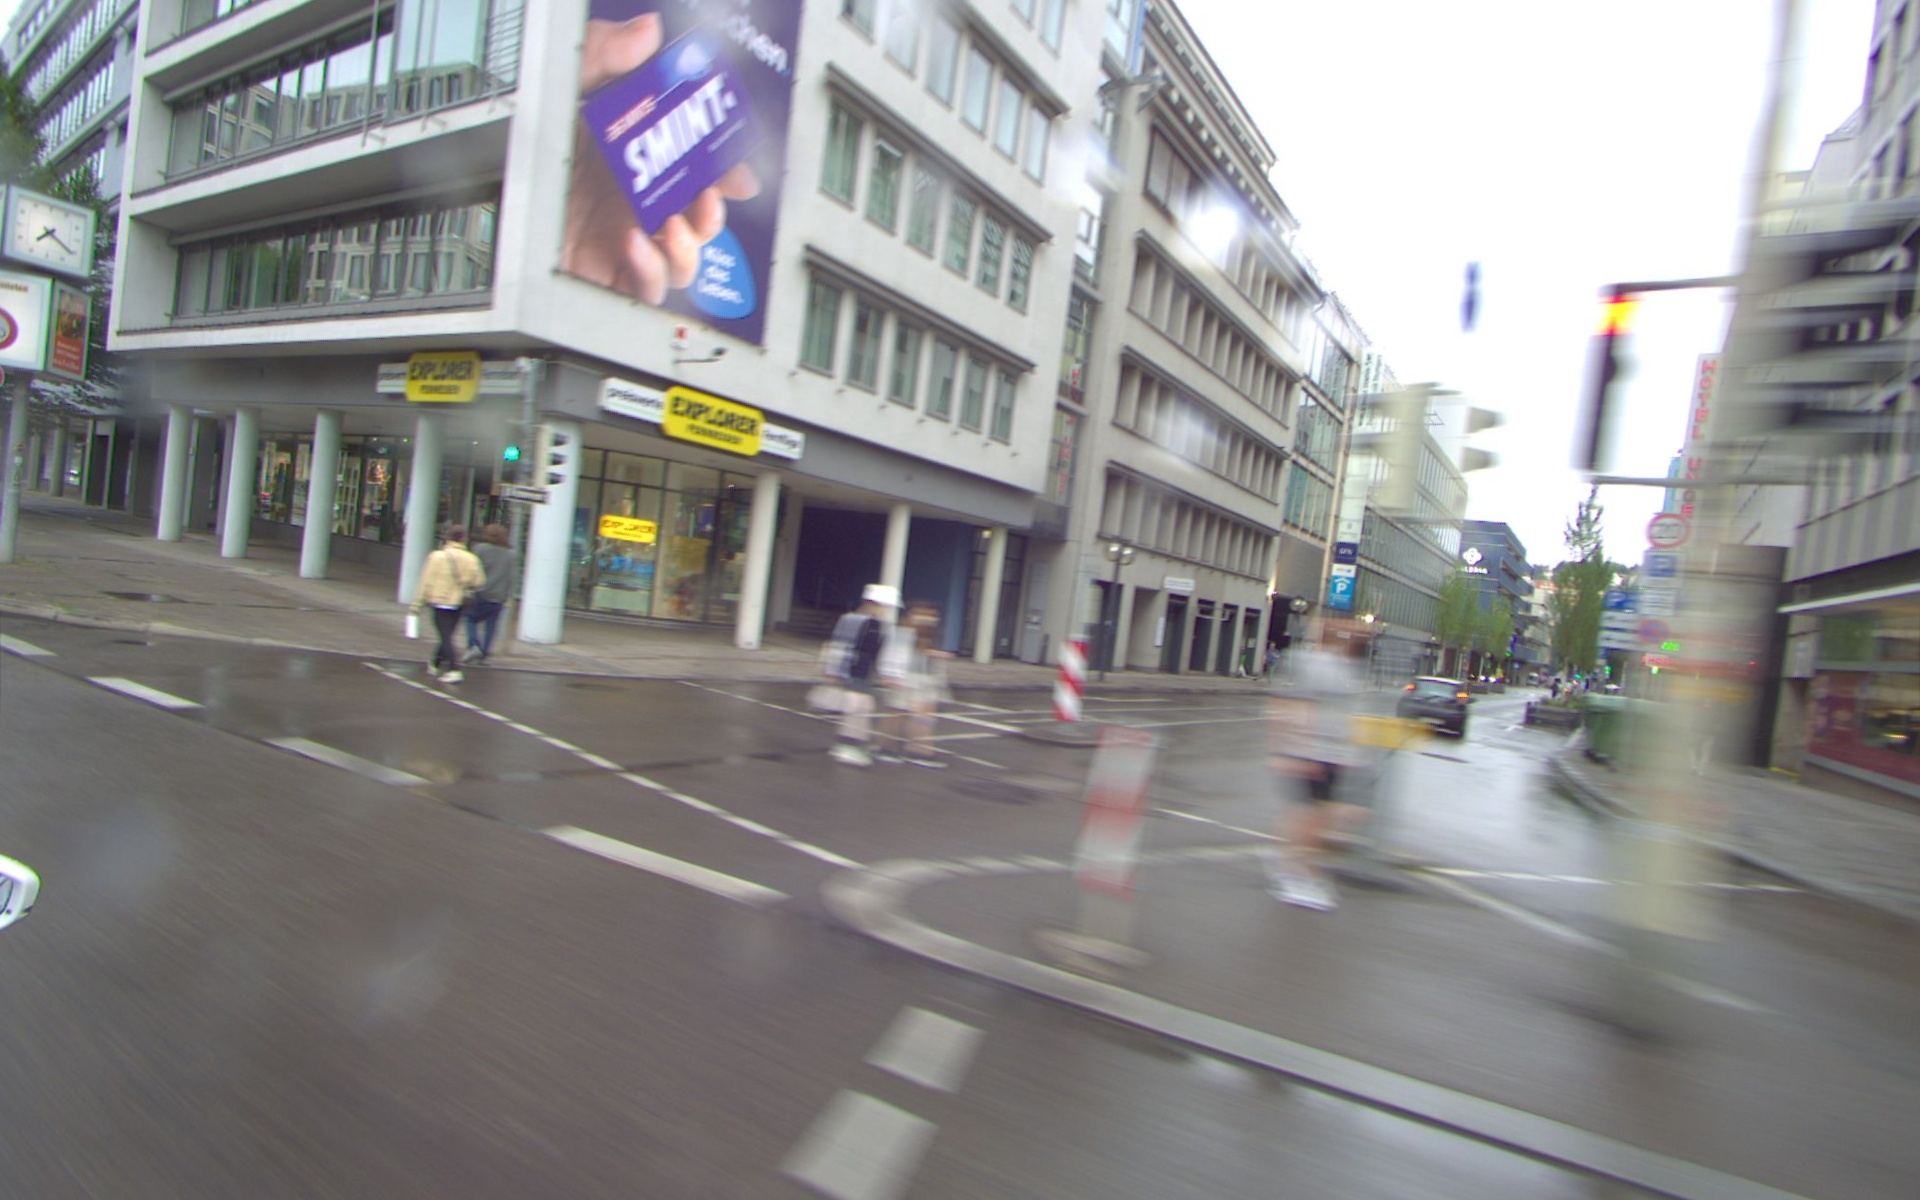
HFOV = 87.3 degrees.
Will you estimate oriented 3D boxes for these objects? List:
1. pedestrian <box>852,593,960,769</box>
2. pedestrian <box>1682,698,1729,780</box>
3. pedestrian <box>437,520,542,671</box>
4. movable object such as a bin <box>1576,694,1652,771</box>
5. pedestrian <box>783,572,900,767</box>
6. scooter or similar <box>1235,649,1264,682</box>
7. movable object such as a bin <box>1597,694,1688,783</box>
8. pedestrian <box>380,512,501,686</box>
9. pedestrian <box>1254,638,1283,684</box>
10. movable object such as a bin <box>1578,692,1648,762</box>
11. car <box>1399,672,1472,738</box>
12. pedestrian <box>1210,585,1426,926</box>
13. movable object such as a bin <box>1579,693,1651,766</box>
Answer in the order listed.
[{"bbox_3d":[-0.521,0.763,9.555,0.620,1.562,0.647,7,0,-33],"label":"pedestrian"},{"bbox_3d":[17.203,3.193,23.233,0.586,1.753,0.771,7,1,27],"label":"pedestrian"},{"bbox_3d":[-6.061,-0.051,12.954,0.803,1.820,0.749,8,2,34],"label":"pedestrian"},{"bbox_3d":[14.002,2.800,21.525,1.180,1.400,1.100,8,1,35],"label":"movable object such as a bin"},{"bbox_3d":[-1.082,0.627,9.172,0.664,1.676,0.647,7,0,-33],"label":"pedestrian"},{"bbox_3d":[12.917,2.924,44.921,1.177,1.304,0.242,7,0,-16],"label":"scooter or similar"},{"bbox_3d":[13.150,2.635,19.406,1.261,1.448,0.966,8,1,35],"label":"movable object such as a bin"},{"bbox_3d":[-5.789,-0.002,11.215,0.803,1.820,0.749,8,2,34],"label":"pedestrian"},{"bbox_3d":[13.431,2.653,43.824,0.806,1.896,0.853,7,0,33],"label":"pedestrian"},{"bbox_3d":[15.300,2.947,23.574,1.180,1.400,1.100,8,1,35],"label":"movable object such as a bin"},{"bbox_3d":[12.795,2.767,27.135,1.548,1.446,3.998,6,-1,25],"label":"car"},{"bbox_3d":[2.094,0.872,5.928,0.664,1.816,0.766,6,0,-33],"label":"pedestrian"},{"bbox_3d":[14.709,2.882,22.587,1.180,1.400,1.100,8,1,35],"label":"movable object such as a bin"}]
